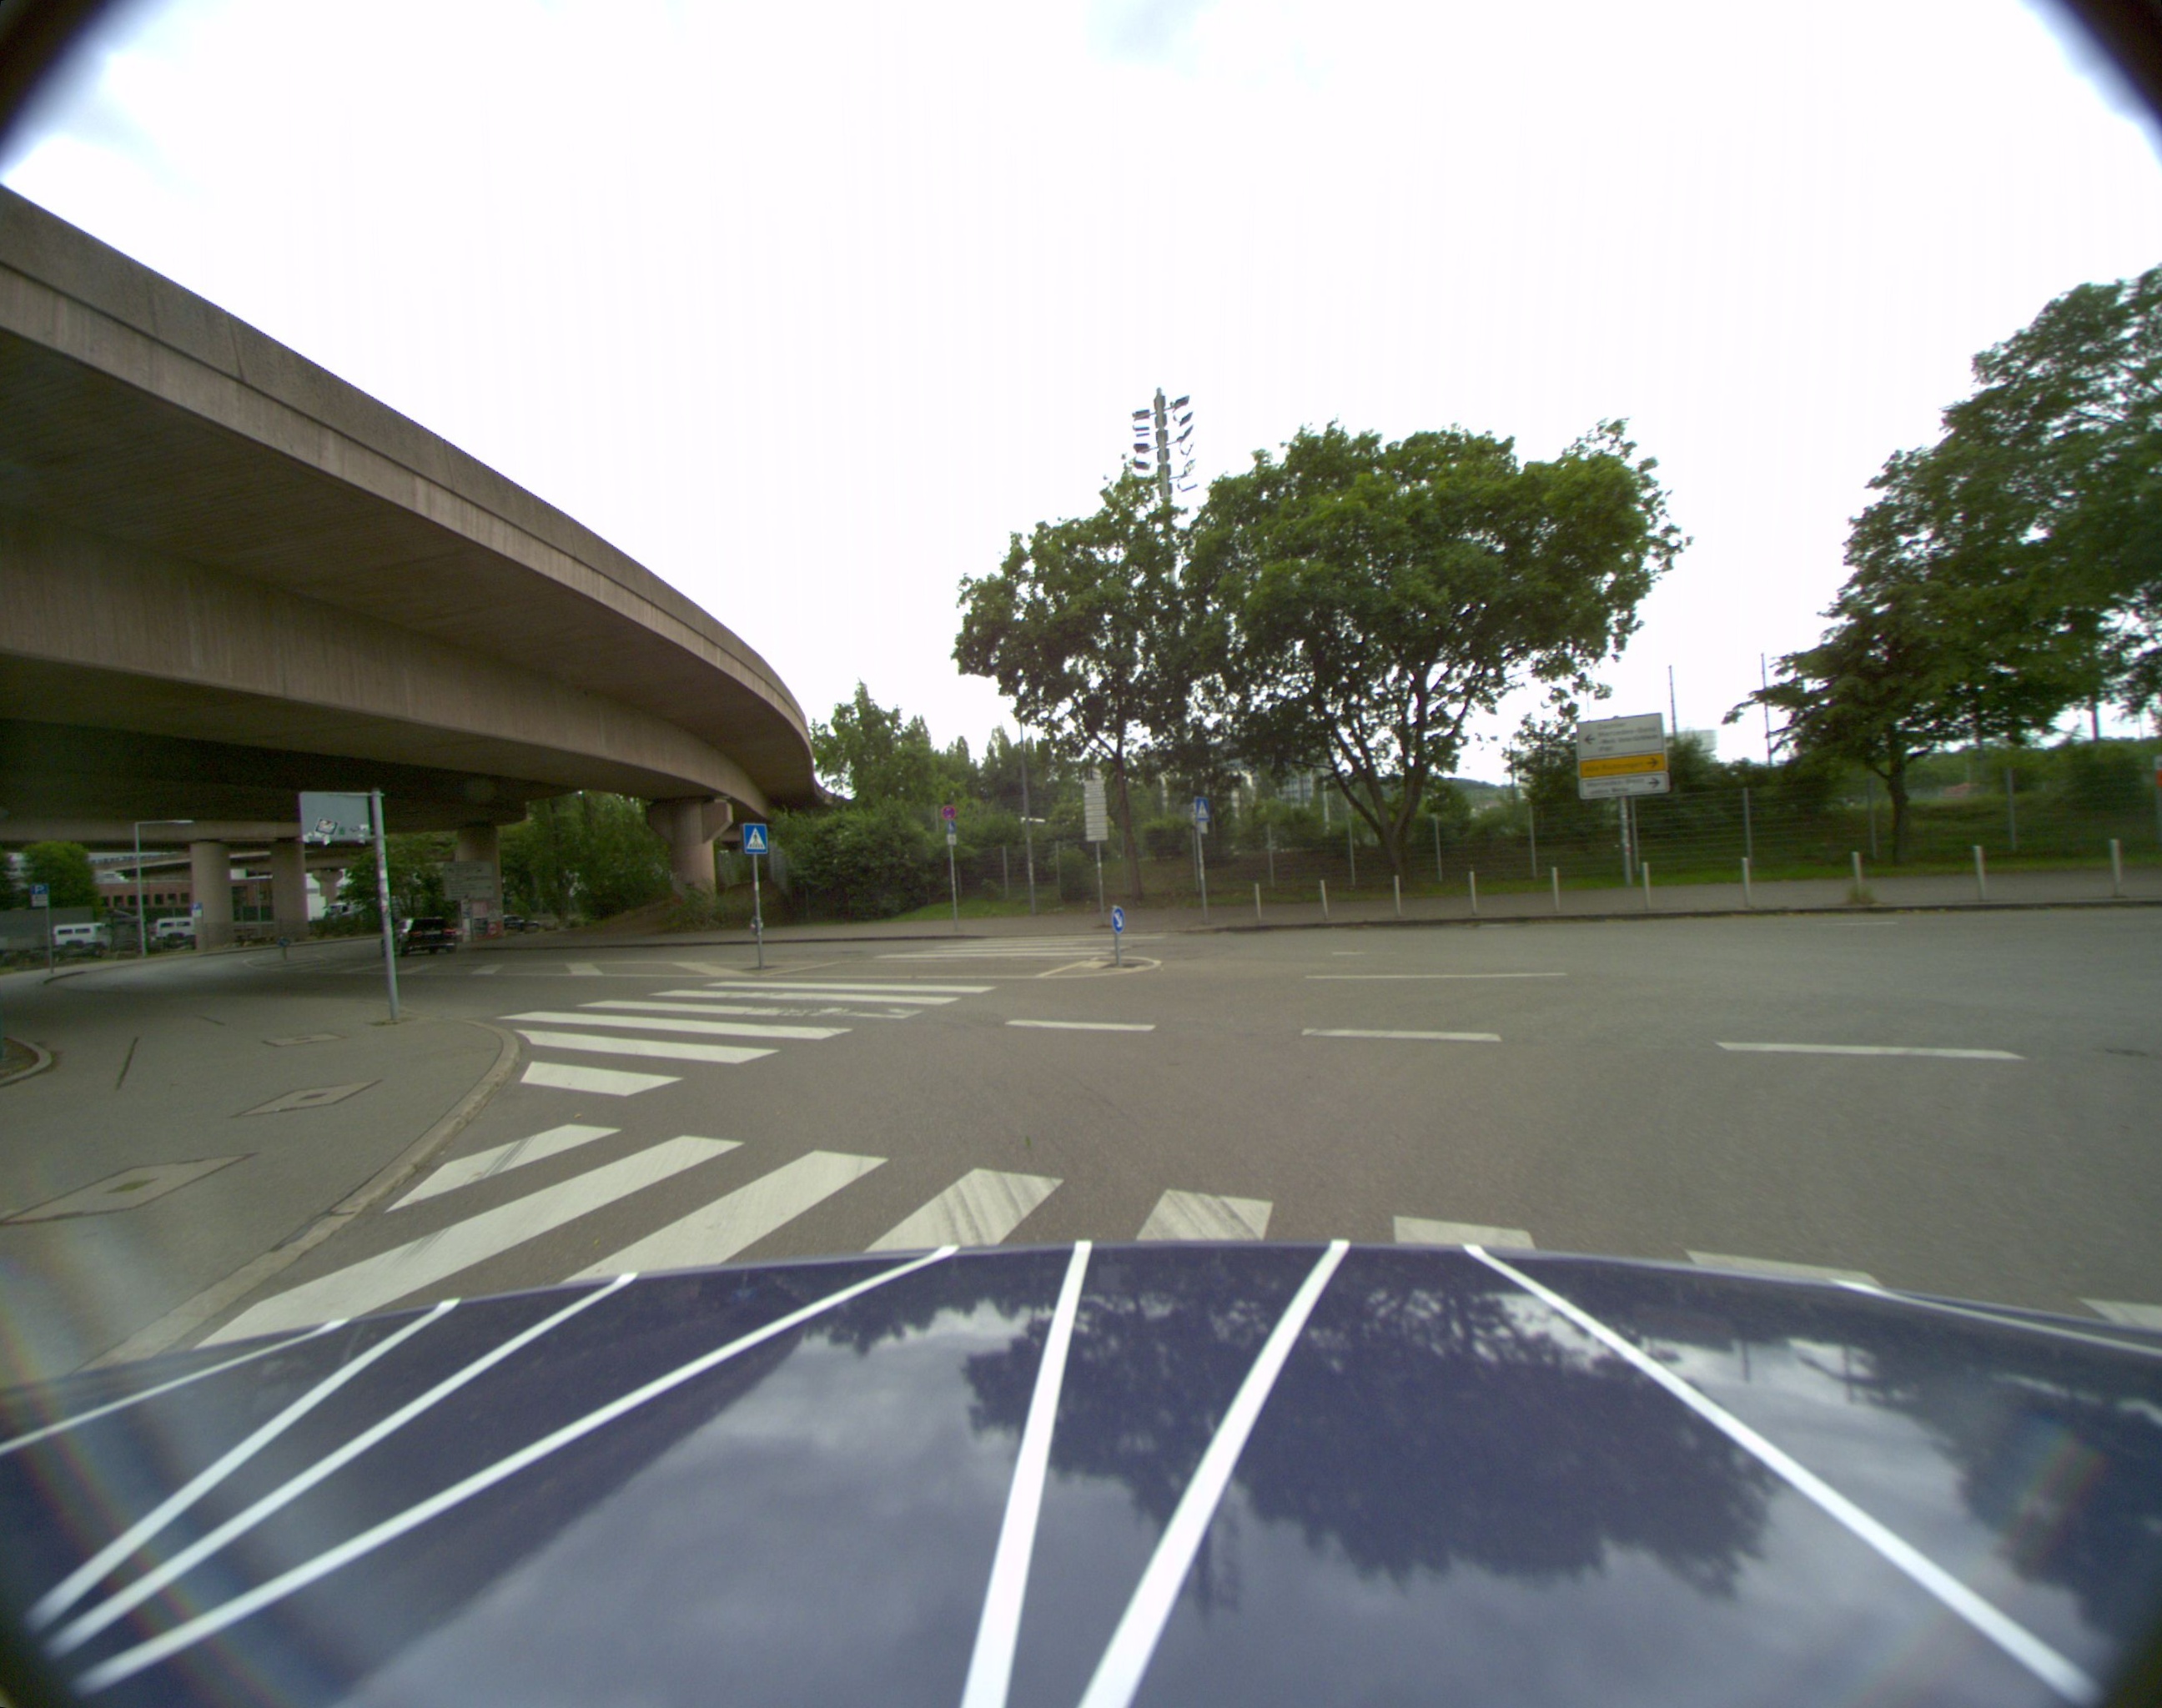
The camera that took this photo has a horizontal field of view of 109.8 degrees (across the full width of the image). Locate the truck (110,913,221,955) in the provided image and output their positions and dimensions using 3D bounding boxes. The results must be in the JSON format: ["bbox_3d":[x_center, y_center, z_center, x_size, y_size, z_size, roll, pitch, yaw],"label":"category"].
[{"bbox_3d":[-71.839,6.180,59.839,2.427,2.727,7.225,-4,-1,-23],"label":"truck"}]

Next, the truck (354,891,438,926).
[{"bbox_3d":[-75.843,5.993,84.320,2.265,3.388,6.424,-3,-1,27],"label":"truck"}]

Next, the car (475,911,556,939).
[{"bbox_3d":[-39.555,4.927,53.302,1.827,1.422,4.775,-6,-1,2],"label":"car"}]

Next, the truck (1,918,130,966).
[{"bbox_3d":[-74.290,6.330,55.778,2.460,2.868,6.112,-4,-1,-17],"label":"truck"}]

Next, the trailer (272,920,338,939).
[{"bbox_3d":[-70.616,6.848,69.237,1.605,1.323,4.382,-3,-1,-2],"label":"trailer"}]

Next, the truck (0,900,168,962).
[{"bbox_3d":[-86.238,6.535,64.628,3.905,4.339,10.153,-5,-2,24],"label":"truck"}]

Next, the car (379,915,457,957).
[{"bbox_3d":[-29.477,3.604,33.724,4.538,1.564,1.849,-5,-1,40],"label":"car"}]

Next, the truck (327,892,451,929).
[{"bbox_3d":[-78.457,6.336,86.546,2.265,3.477,10.233,-3,-1,25],"label":"truck"}]
